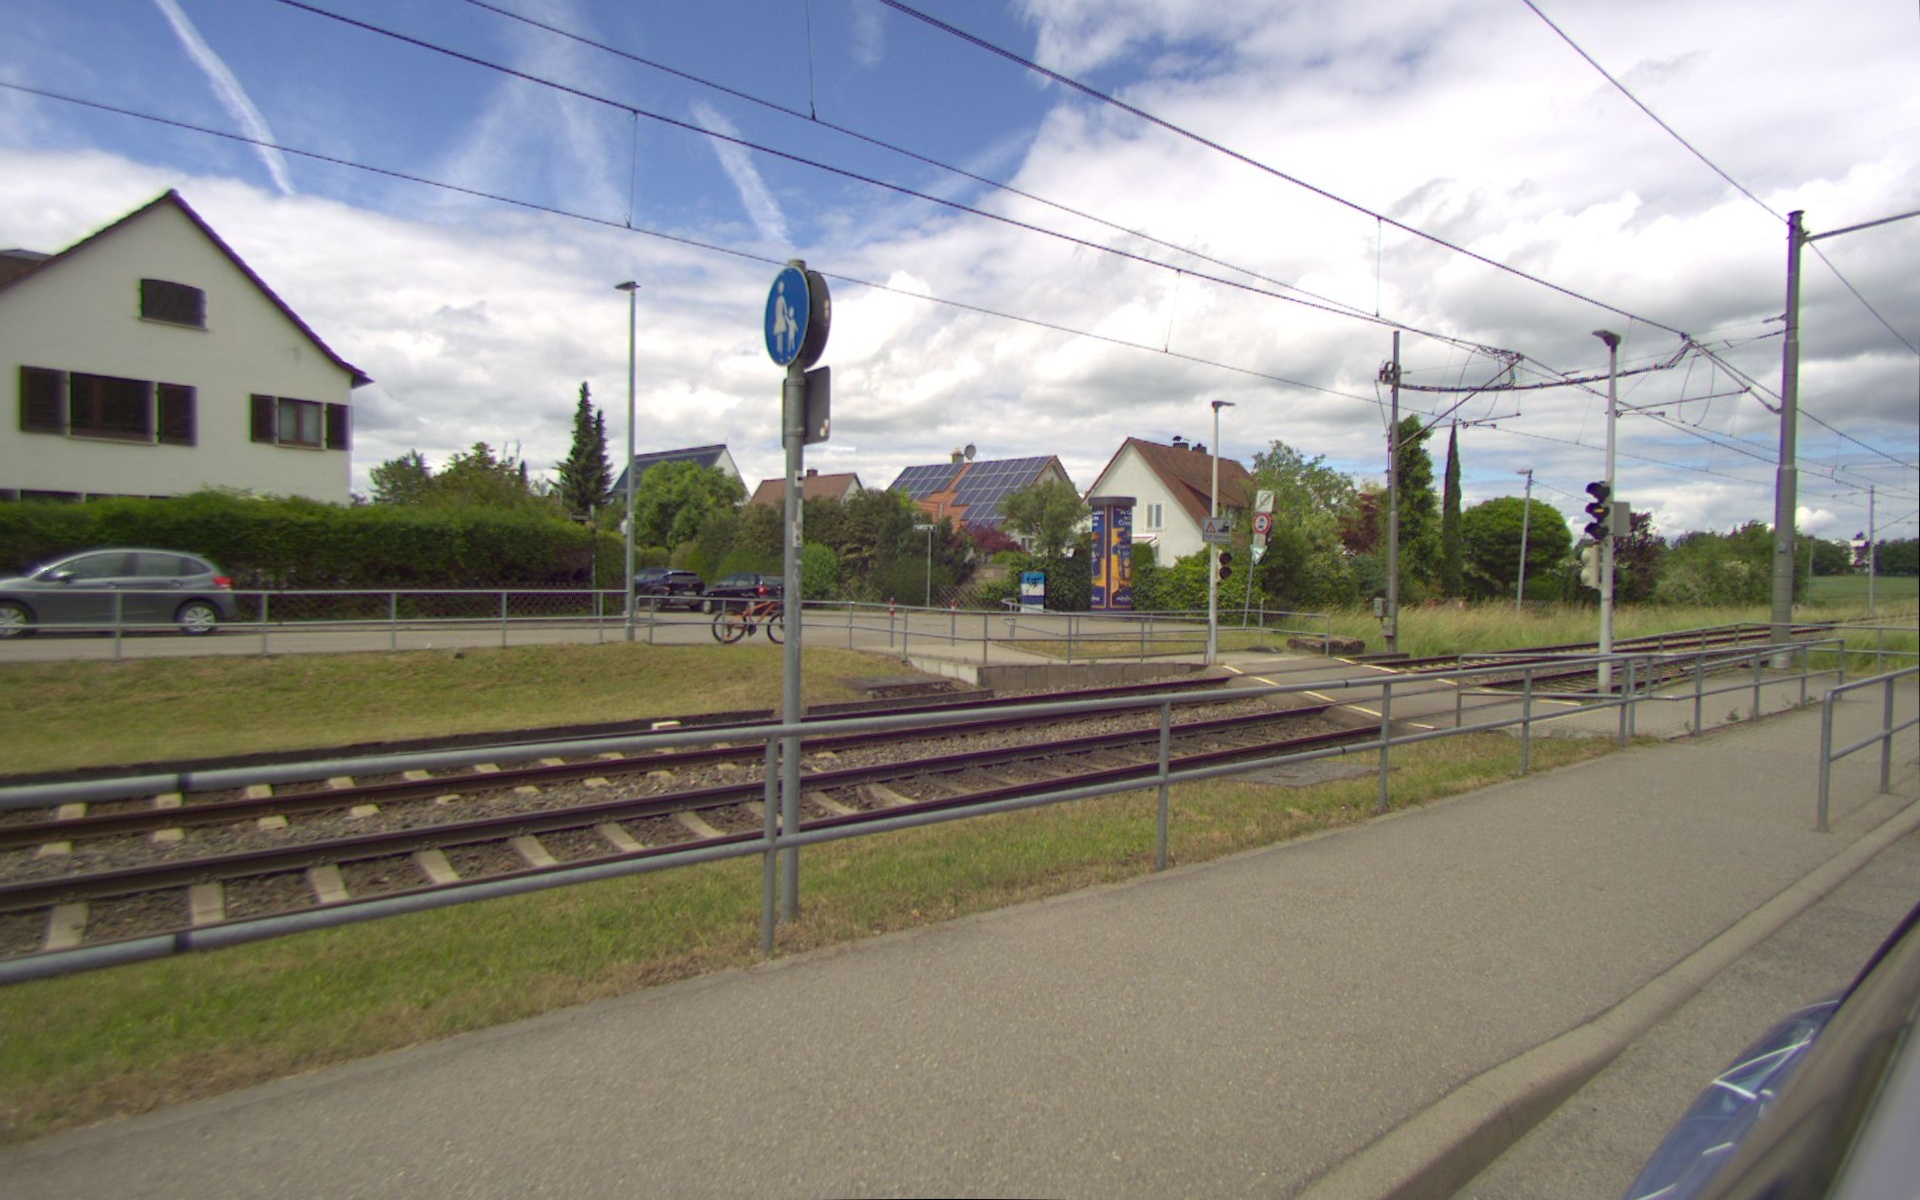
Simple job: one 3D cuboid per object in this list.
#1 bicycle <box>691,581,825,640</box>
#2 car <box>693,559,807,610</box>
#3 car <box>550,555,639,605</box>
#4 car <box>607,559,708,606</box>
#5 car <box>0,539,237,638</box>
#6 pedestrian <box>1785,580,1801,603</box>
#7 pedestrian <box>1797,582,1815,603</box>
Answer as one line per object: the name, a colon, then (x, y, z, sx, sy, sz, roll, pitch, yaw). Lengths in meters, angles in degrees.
bicycle: (-3.770, 0.182, 19.050, 2.493, 1.058, 0.539, 0, 1, -38)
car: (-7.116, -0.555, 34.165, 3.711, 1.643, 1.801, 2, 2, 38)
car: (-14.610, -0.832, 40.417, 3.626, 1.887, 1.799, 2, 2, 40)
car: (-11.102, -0.667, 37.062, 3.959, 1.643, 1.797, 2, 2, 43)
car: (-14.821, -0.218, 17.278, 3.928, 1.541, 1.888, -1, 2, -39)
pedestrian: (58.453, -0.600, 70.978, 0.572, 1.643, 0.619, -1, 0, -4)
pedestrian: (58.848, -0.508, 70.402, 0.654, 1.449, 0.599, -1, 0, 1)
